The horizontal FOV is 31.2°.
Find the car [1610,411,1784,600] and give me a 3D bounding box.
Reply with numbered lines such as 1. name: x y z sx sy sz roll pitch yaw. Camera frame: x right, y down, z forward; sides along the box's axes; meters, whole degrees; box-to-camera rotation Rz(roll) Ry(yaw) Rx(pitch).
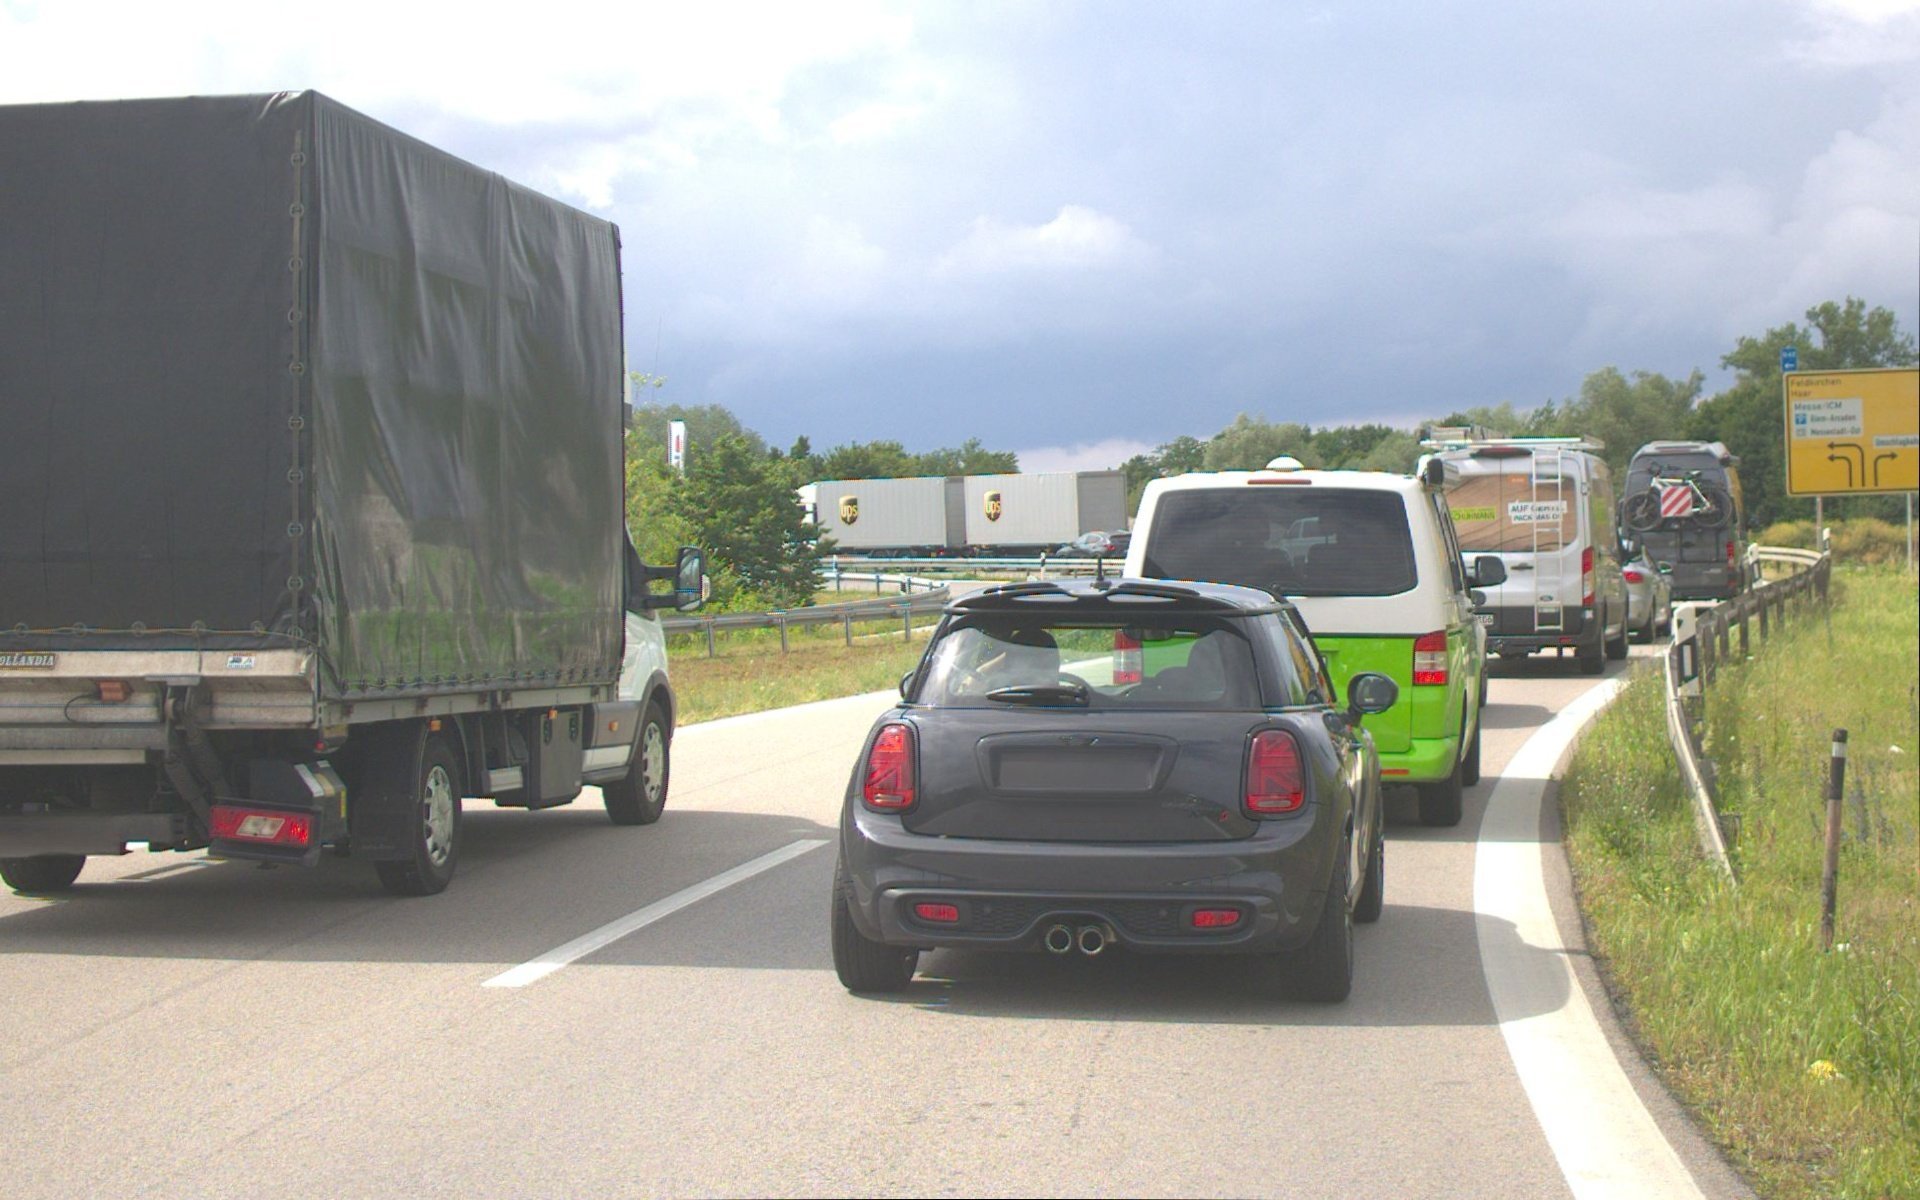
1. car: 12.746 -1.555 59.148 2.313 3.058 6.656 1 0 17

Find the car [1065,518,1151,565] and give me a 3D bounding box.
1. car: 5.615 -2.219 130.935 1.812 1.750 4.001 1 0 -21

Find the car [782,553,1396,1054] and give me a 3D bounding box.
1. car: 0.625 0.604 12.661 1.800 1.541 3.737 0 1 9

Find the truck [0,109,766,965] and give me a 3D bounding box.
1. truck: -3.065 -0.260 16.582 2.561 3.157 7.465 1 0 10

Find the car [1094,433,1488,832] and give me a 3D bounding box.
1. car: 2.014 0.141 19.795 1.912 2.038 4.179 0 1 10

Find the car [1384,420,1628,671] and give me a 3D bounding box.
1. car: 6.259 -0.590 38.857 2.213 2.613 5.531 1 0 14

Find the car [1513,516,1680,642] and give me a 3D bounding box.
1. car: 8.781 -0.280 47.188 1.995 1.636 3.926 1 0 14

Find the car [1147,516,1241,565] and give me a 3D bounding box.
1. car: 9.002 -2.273 132.615 1.921 1.831 4.318 1 0 -21

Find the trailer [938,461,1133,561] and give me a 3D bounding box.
1. trailer: 2.972 -3.559 139.044 3.036 3.884 8.771 1 0 -37

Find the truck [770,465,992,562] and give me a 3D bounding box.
1. truck: -3.406 -3.653 145.723 10.021 3.962 2.838 1 0 41
